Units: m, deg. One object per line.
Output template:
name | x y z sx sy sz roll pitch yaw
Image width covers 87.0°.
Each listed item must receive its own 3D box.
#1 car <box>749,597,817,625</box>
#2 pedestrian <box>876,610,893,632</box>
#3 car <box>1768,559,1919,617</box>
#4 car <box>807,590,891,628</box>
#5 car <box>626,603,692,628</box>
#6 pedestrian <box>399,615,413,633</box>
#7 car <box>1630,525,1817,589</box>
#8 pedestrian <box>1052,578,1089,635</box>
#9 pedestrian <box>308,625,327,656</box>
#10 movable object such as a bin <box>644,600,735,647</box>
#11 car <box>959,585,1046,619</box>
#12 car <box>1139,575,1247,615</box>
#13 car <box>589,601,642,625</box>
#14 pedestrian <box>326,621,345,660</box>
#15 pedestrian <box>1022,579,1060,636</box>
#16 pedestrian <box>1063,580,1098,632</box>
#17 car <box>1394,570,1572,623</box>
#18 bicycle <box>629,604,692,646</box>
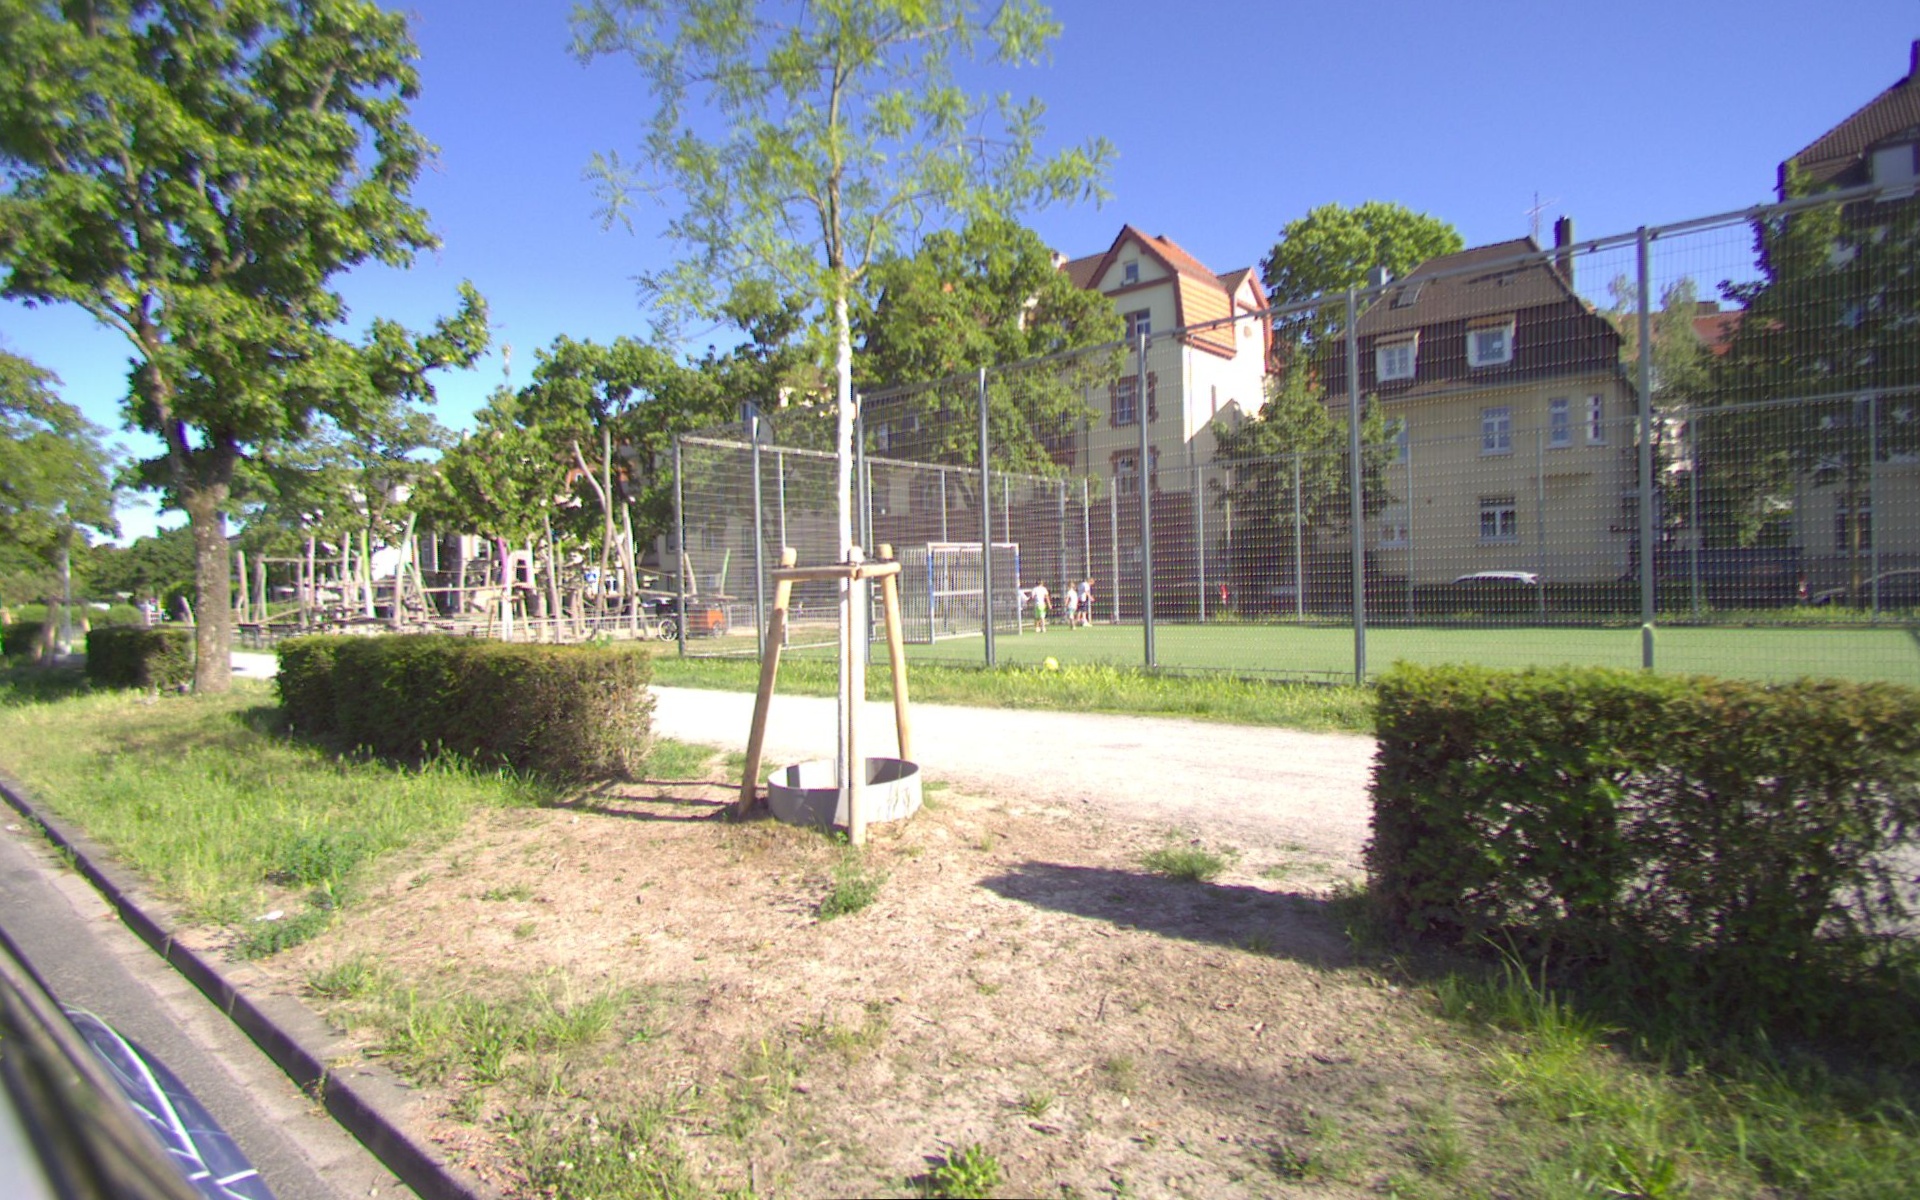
car | -10.417 0.672 59.456 3.998 1.521 1.776 -1 1 41
pedestrian | -2.782 0.774 37.221 0.359 0.810 0.478 -2 0 42
car | 25.610 -0.338 28.610 4.229 1.521 1.776 -1 1 41
car | -6.175 0.518 55.940 4.833 1.997 1.776 -1 1 41
car | -20.329 1.067 68.276 4.760 1.521 1.887 -1 1 40
pedestrian | -31.775 1.380 58.036 0.535 0.986 0.779 -2 1 -42
car | 20.972 -1.149 27.878 3.998 1.521 1.776 -1 1 41
pedestrian | 2.686 0.153 24.604 0.639 1.328 0.652 -2 1 -20
pedestrian | -28.974 1.819 45.644 0.639 1.339 0.652 -2 1 -31
movable object such as a bin | -7.581 0.652 28.485 1.054 1.251 2.309 -2 0 36
car | 2.040 0.118 49.172 3.998 1.521 1.776 -1 1 41
car | 9.702 -0.189 42.256 3.998 1.521 1.776 -1 1 41
car | -24.402 0.912 71.679 3.997 1.566 1.776 -1 1 41
pedestrian | -27.596 1.772 44.733 0.639 1.674 0.652 -2 1 -31
pedestrian | 1.934 0.179 24.257 0.639 1.328 0.652 -2 1 -20
pedestrian | 3.118 0.148 26.301 0.639 1.328 0.652 -2 1 -20
car | 18.043 -0.085 35.074 5.180 1.664 1.862 -1 1 41
bicycle | -8.673 0.709 29.355 0.499 1.116 1.777 -2 1 39
